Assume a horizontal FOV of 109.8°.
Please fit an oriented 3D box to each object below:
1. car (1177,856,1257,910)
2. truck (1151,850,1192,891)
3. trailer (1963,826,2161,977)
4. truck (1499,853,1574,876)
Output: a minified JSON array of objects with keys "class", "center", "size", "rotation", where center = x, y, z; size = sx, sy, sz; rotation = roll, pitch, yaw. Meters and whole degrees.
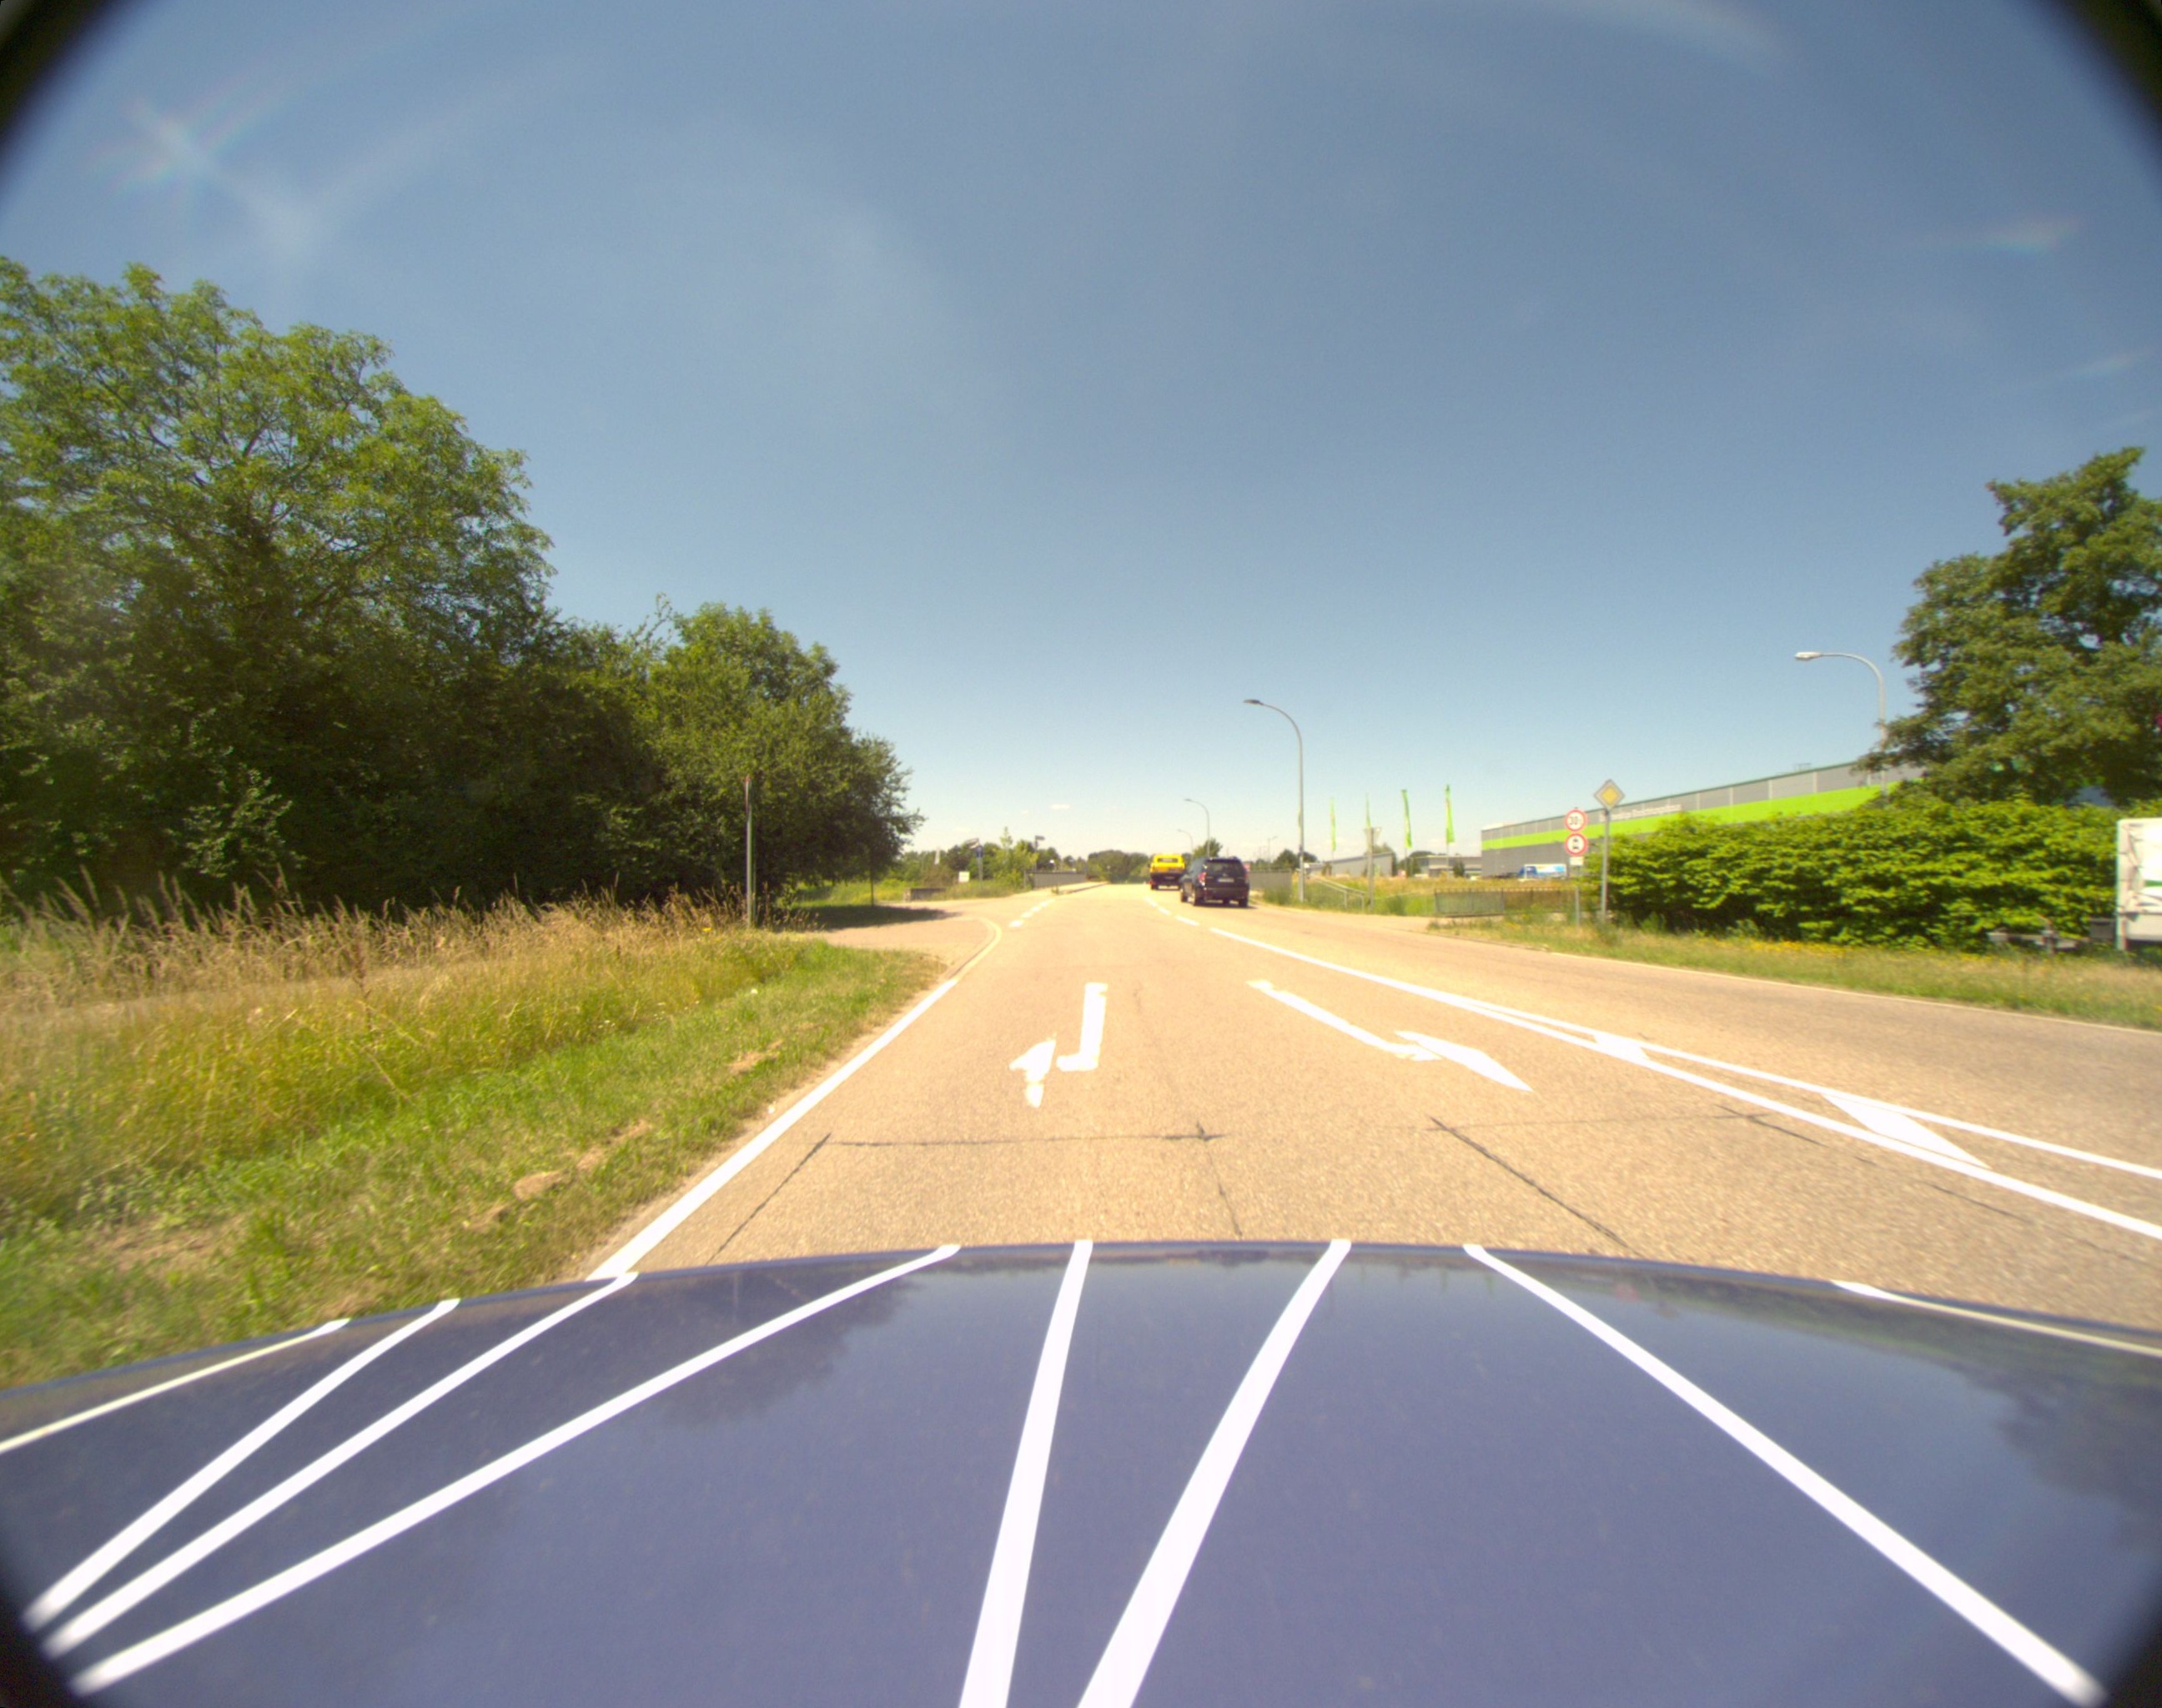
[{"class":"car","center":[4.549,0.918,26.036],"size":[1.907,1.692,3.999],"rotation":[0,0,-2]},{"class":"truck","center":[5.635,0.988,48.253],"size":[2.315,2.324,9.055],"rotation":[1,0,5]},{"class":"trailer","center":[15.208,0.613,10.337],"size":[1.859,2.002,3.950],"rotation":[-1,0,-33]},{"class":"truck","center":[58.694,1.386,98.018],"size":[7.757,2.667,2.969],"rotation":[-4,-4,43]}]
